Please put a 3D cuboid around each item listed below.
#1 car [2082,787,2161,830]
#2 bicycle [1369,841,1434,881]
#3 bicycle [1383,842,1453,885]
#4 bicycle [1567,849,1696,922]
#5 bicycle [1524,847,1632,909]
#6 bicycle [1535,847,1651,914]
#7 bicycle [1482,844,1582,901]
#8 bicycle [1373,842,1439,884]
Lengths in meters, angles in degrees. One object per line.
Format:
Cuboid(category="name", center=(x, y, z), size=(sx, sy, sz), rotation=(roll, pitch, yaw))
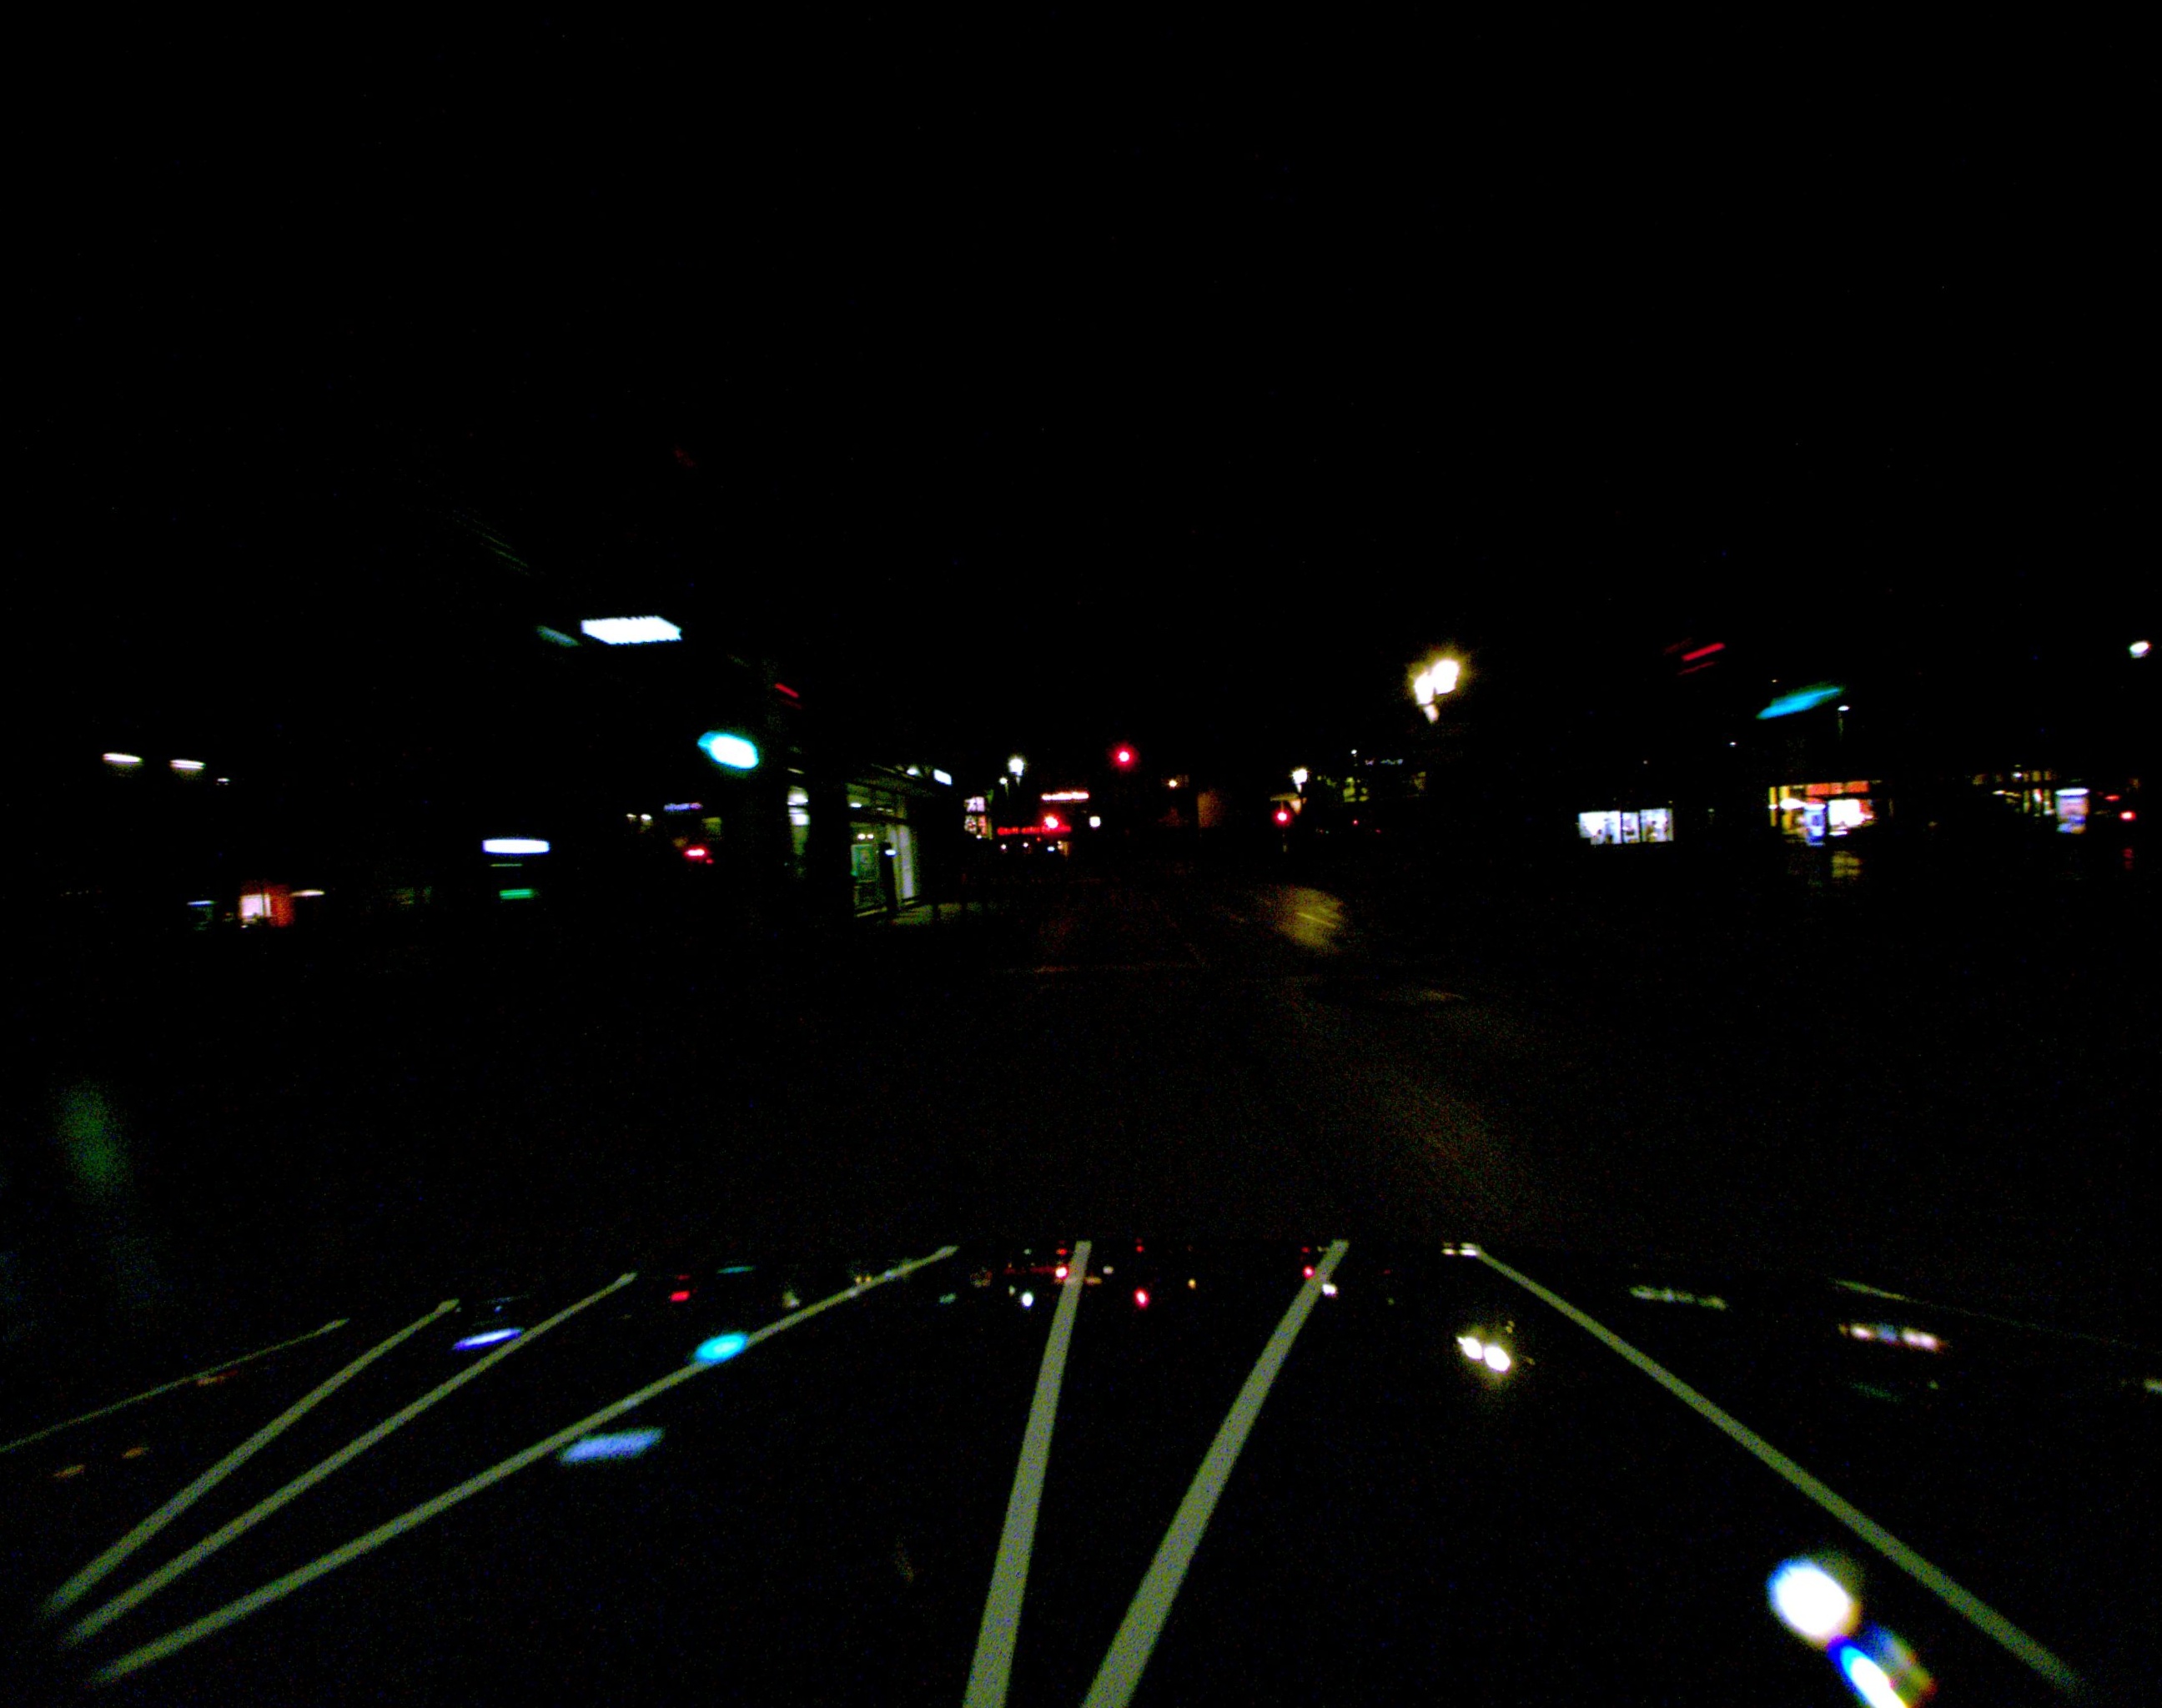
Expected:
Cuboid(category="car", center=(51.623, -2.214, 36.181), size=(4.409, 1.925, 1.963), rotation=(-2, 0, 18))
Cuboid(category="bicycle", center=(10.881, 0.226, 25.866), size=(1.837, 1.151, 0.787), rotation=(-5, 2, 8))
Cuboid(category="bicycle", center=(10.406, 0.276, 23.511), size=(1.738, 1.160, 0.787), rotation=(-5, 0, 8))
Cuboid(category="bicycle", center=(9.192, 0.511, 12.731), size=(1.619, 1.099, 0.670), rotation=(-3, 2, 3))
Cuboid(category="bicycle", center=(9.636, 0.454, 14.767), size=(1.619, 1.099, 0.670), rotation=(-3, 2, 3))
Cuboid(category="bicycle", center=(9.422, 0.478, 14.025), size=(1.619, 1.099, 0.670), rotation=(-3, 2, 3))
Cuboid(category="bicycle", center=(9.964, 0.389, 16.818), size=(1.773, 1.157, 0.670), rotation=(-3, 1, 3))
Cuboid(category="bicycle", center=(10.408, 0.278, 24.398), size=(1.738, 1.151, 0.787), rotation=(-5, 2, 8))
